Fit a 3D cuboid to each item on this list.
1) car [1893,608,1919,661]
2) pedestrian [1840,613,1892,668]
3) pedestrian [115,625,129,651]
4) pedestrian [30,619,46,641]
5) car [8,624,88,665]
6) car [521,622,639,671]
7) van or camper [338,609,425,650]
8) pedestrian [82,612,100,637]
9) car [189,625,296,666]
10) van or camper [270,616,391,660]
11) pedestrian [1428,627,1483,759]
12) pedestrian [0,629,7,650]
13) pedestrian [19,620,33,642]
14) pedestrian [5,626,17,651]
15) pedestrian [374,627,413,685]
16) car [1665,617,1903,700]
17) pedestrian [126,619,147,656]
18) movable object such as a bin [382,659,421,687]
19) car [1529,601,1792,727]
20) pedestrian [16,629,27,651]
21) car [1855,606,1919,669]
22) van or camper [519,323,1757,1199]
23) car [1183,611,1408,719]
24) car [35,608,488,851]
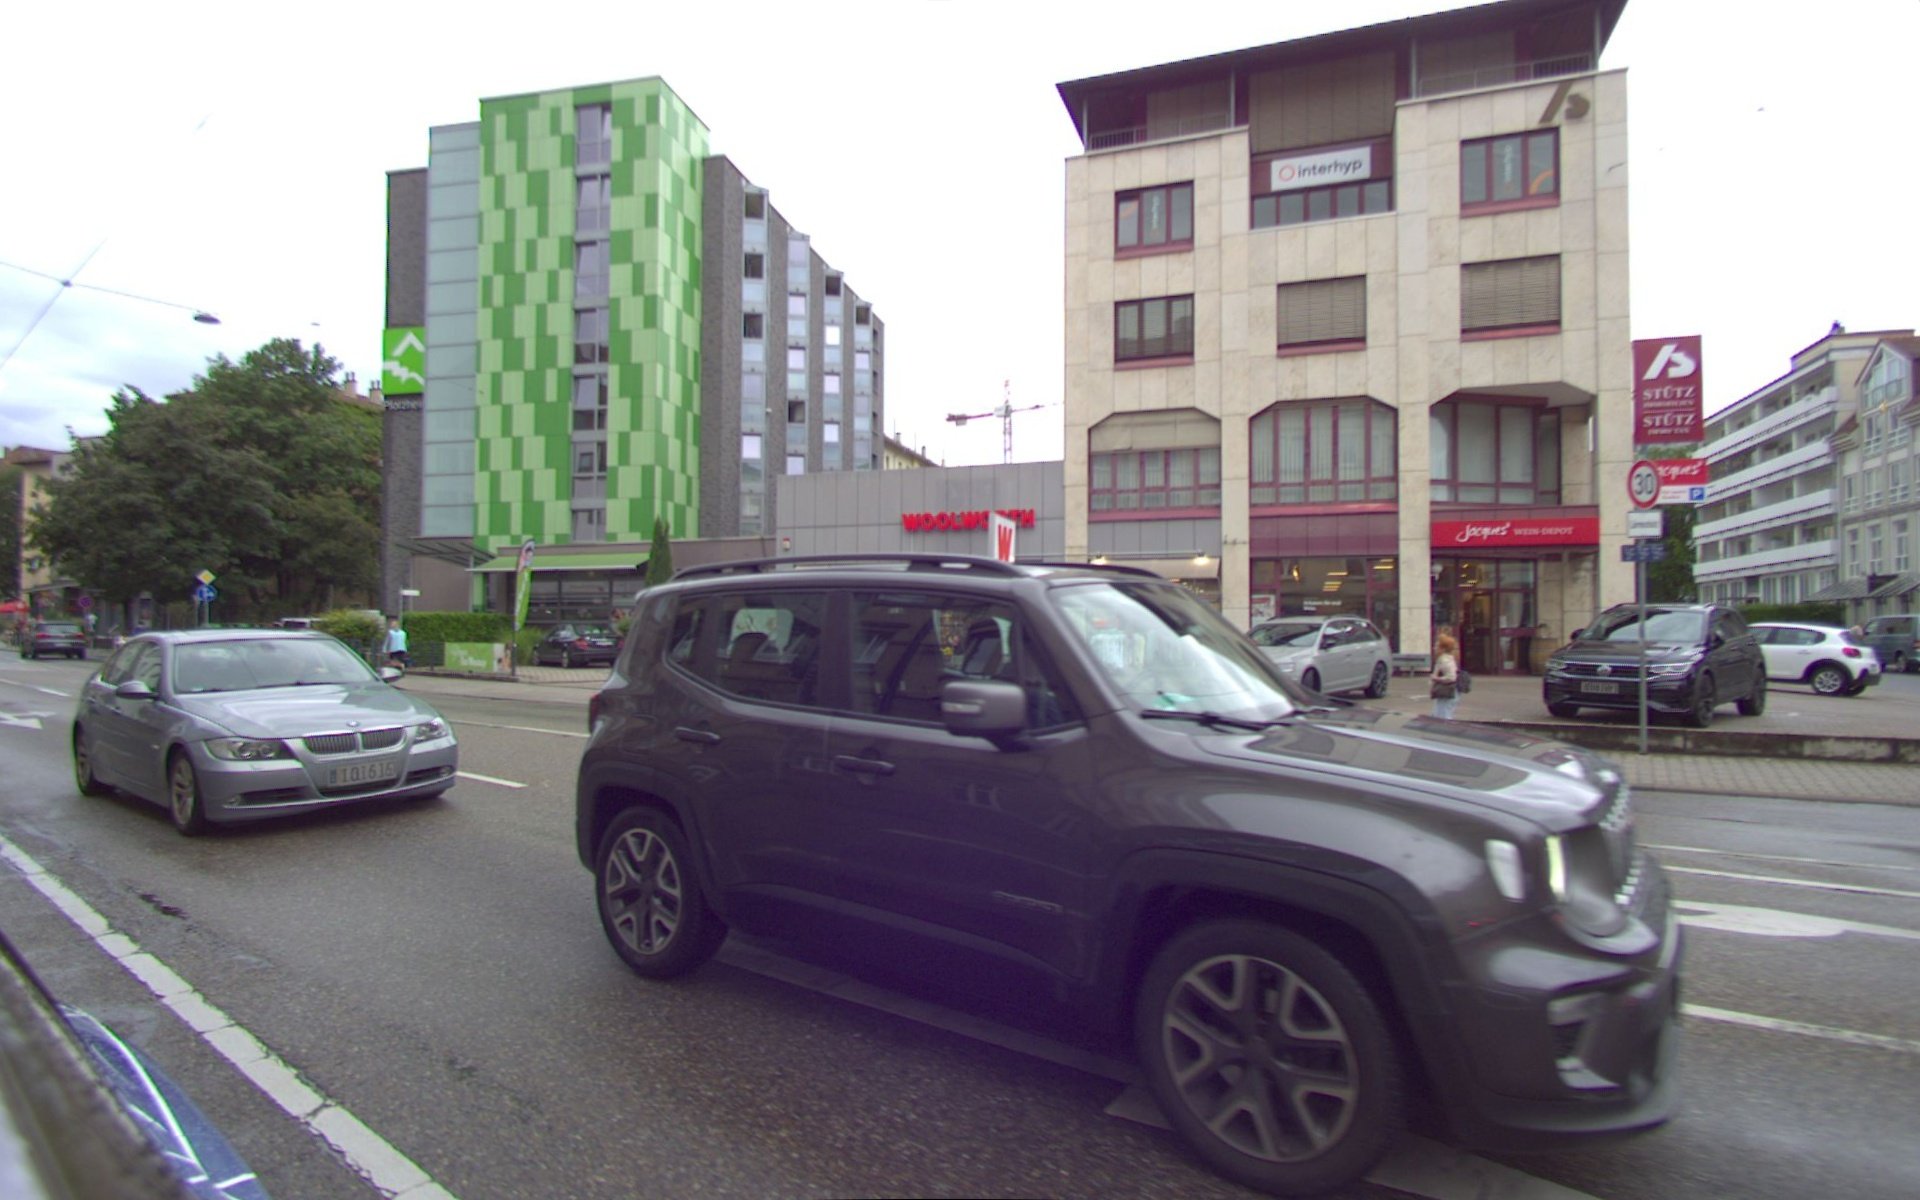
[{"bbox_3d":[37.596,1.291,38.172,1.984,2.029,3.976,-1,-2,18],"label":"car"},{"bbox_3d":[31.305,1.388,34.974,1.050,1.842,1.188,1,-3,-41],"label":"pedestrian"},{"bbox_3d":[-39.442,1.767,47.612,0.310,1.207,0.405,-1,-2,33],"label":"pedestrian"},{"bbox_3d":[-71.540,2.362,78.545,0.701,1.691,0.803,0,-2,-23],"label":"pedestrian"},{"bbox_3d":[-39.862,1.911,44.209,4.051,1.672,1.929,-1,-2,38],"label":"car"},{"bbox_3d":[-12.372,1.469,32.792,1.970,1.450,4.657,2,-2,-43],"label":"car"},{"bbox_3d":[-35.232,1.757,61.763,2.187,2.283,4.604,-2,0,10],"label":"van or camper"},{"bbox_3d":[-63.377,1.789,73.781,0.714,1.840,0.721,-1,-1,11],"label":"pedestrian"},{"bbox_3d":[-31.964,2.009,45.186,1.727,1.581,3.568,-2,0,18],"label":"car"},{"bbox_3d":[-31.078,1.842,50.151,1.985,2.029,4.935,0,-1,20],"label":"van or camper"},{"bbox_3d":[6.082,1.111,12.445,0.504,1.541,0.758,0,0,18],"label":"pedestrian"},{"bbox_3d":[-65.157,2.712,68.789,0.480,1.421,0.429,-1,-2,36],"label":"pedestrian"},{"bbox_3d":[-72.913,2.402,79.011,0.712,1.691,0.706,-2,-2,39],"label":"pedestrian"},{"bbox_3d":[-64.877,2.655,69.182,0.551,1.686,0.493,-1,-2,36],"label":"pedestrian"},{"bbox_3d":[-16.739,1.656,29.906,0.743,1.698,0.749,0,-2,-6],"label":"pedestrian"},{"bbox_3d":[18.103,1.223,22.386,1.557,1.511,3.769,1,1,-36],"label":"car"},{"bbox_3d":[-39.160,1.774,48.122,0.579,1.775,0.569,-1,-2,33],"label":"pedestrian"},{"bbox_3d":[-16.250,2.123,29.461,0.743,0.795,0.734,1,-1,-6],"label":"movable object such as a bin"},{"bbox_3d":[10.073,0.837,14.433,4.362,1.517,1.957,1,-2,-39],"label":"car"},{"bbox_3d":[-64.417,2.730,69.479,0.529,1.484,0.455,-1,-2,36],"label":"pedestrian"},{"bbox_3d":[32.284,1.237,33.844,1.983,2.029,3.977,-1,-2,17],"label":"car"},{"bbox_3d":[0.323,0.620,3.835,4.134,2.163,1.838,-1,-2,36],"label":"van or camper"},{"bbox_3d":[5.708,0.978,16.899,1.886,1.538,4.396,-1,-1,43],"label":"car"},{"bbox_3d":[-5.851,0.842,8.280,4.363,1.475,1.783,-1,-1,37],"label":"car"}]
